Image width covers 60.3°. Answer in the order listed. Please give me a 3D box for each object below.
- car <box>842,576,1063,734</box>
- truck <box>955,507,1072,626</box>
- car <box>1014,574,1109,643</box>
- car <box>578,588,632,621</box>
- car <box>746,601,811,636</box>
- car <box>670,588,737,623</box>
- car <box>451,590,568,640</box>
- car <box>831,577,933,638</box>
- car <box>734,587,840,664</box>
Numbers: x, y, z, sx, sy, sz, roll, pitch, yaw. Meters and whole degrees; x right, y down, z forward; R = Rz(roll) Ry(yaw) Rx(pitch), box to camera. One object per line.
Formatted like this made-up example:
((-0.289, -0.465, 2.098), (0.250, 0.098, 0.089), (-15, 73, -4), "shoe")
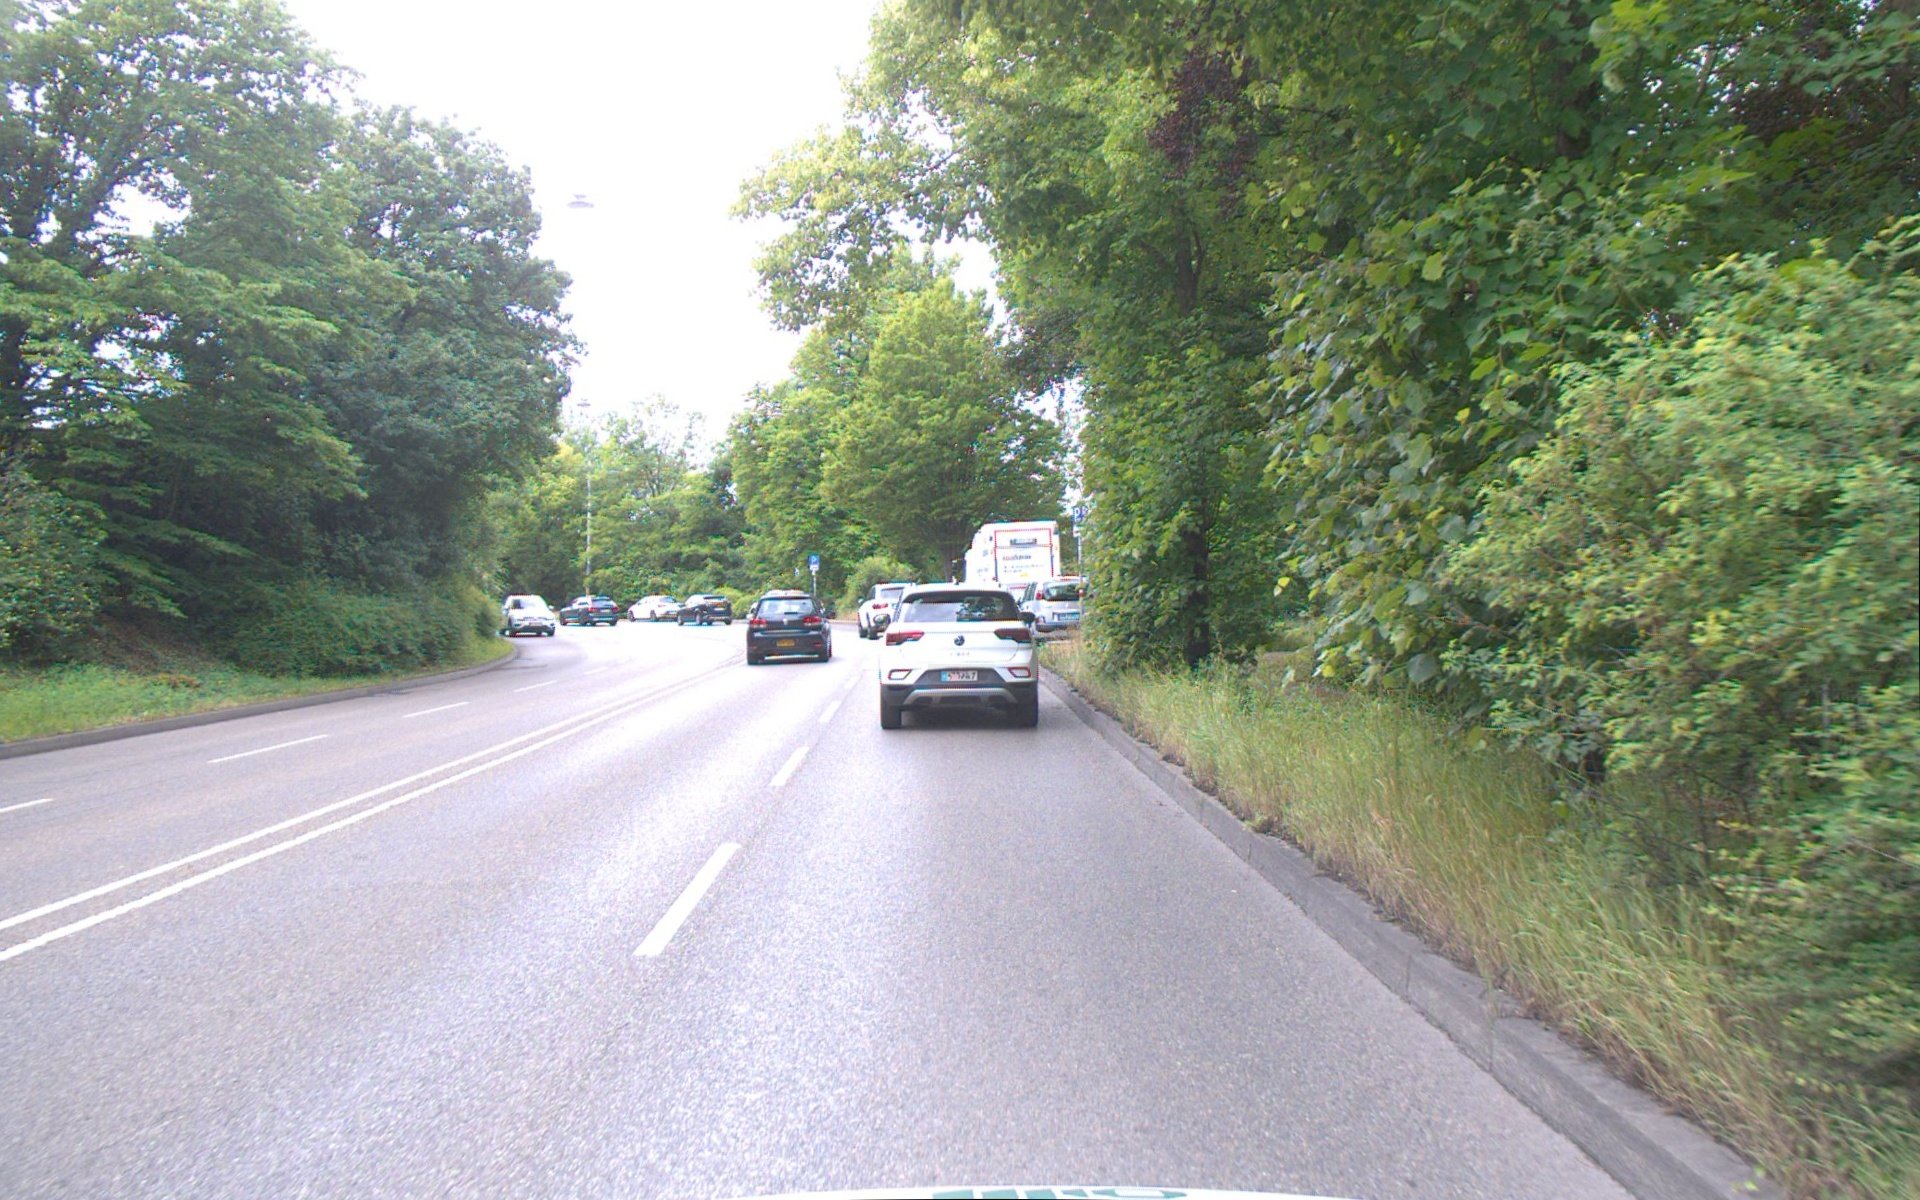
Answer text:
((-0.206, 0.574, 19.239), (1.964, 1.624, 3.992), (1, 0, -9), "car")
((1.471, -0.938, 49.492), (2.434, 3.237, 7.218), (1, 0, -6), "truck")
((2.370, 0.199, 39.504), (1.767, 1.551, 3.997), (1, 0, -4), "car")
((-18.159, 0.239, 84.777), (1.953, 1.620, 3.999), (1, 0, -1), "car")
((-9.114, 0.913, 82.697), (1.739, 1.681, 4.340), (-2, 1, -28), "car")
((-12.583, 0.268, 81.092), (1.750, 1.635, 3.953), (1, 0, -34), "car")
((-18.622, 0.603, 68.426), (4.329, 1.723, 1.864), (2, 6, 18), "car")
((-2.443, 0.198, 50.862), (1.826, 1.732, 3.972), (-3, 2, -23), "car")
((-3.694, 0.520, 35.993), (1.910, 1.491, 3.999), (-3, 0, -1), "car")
